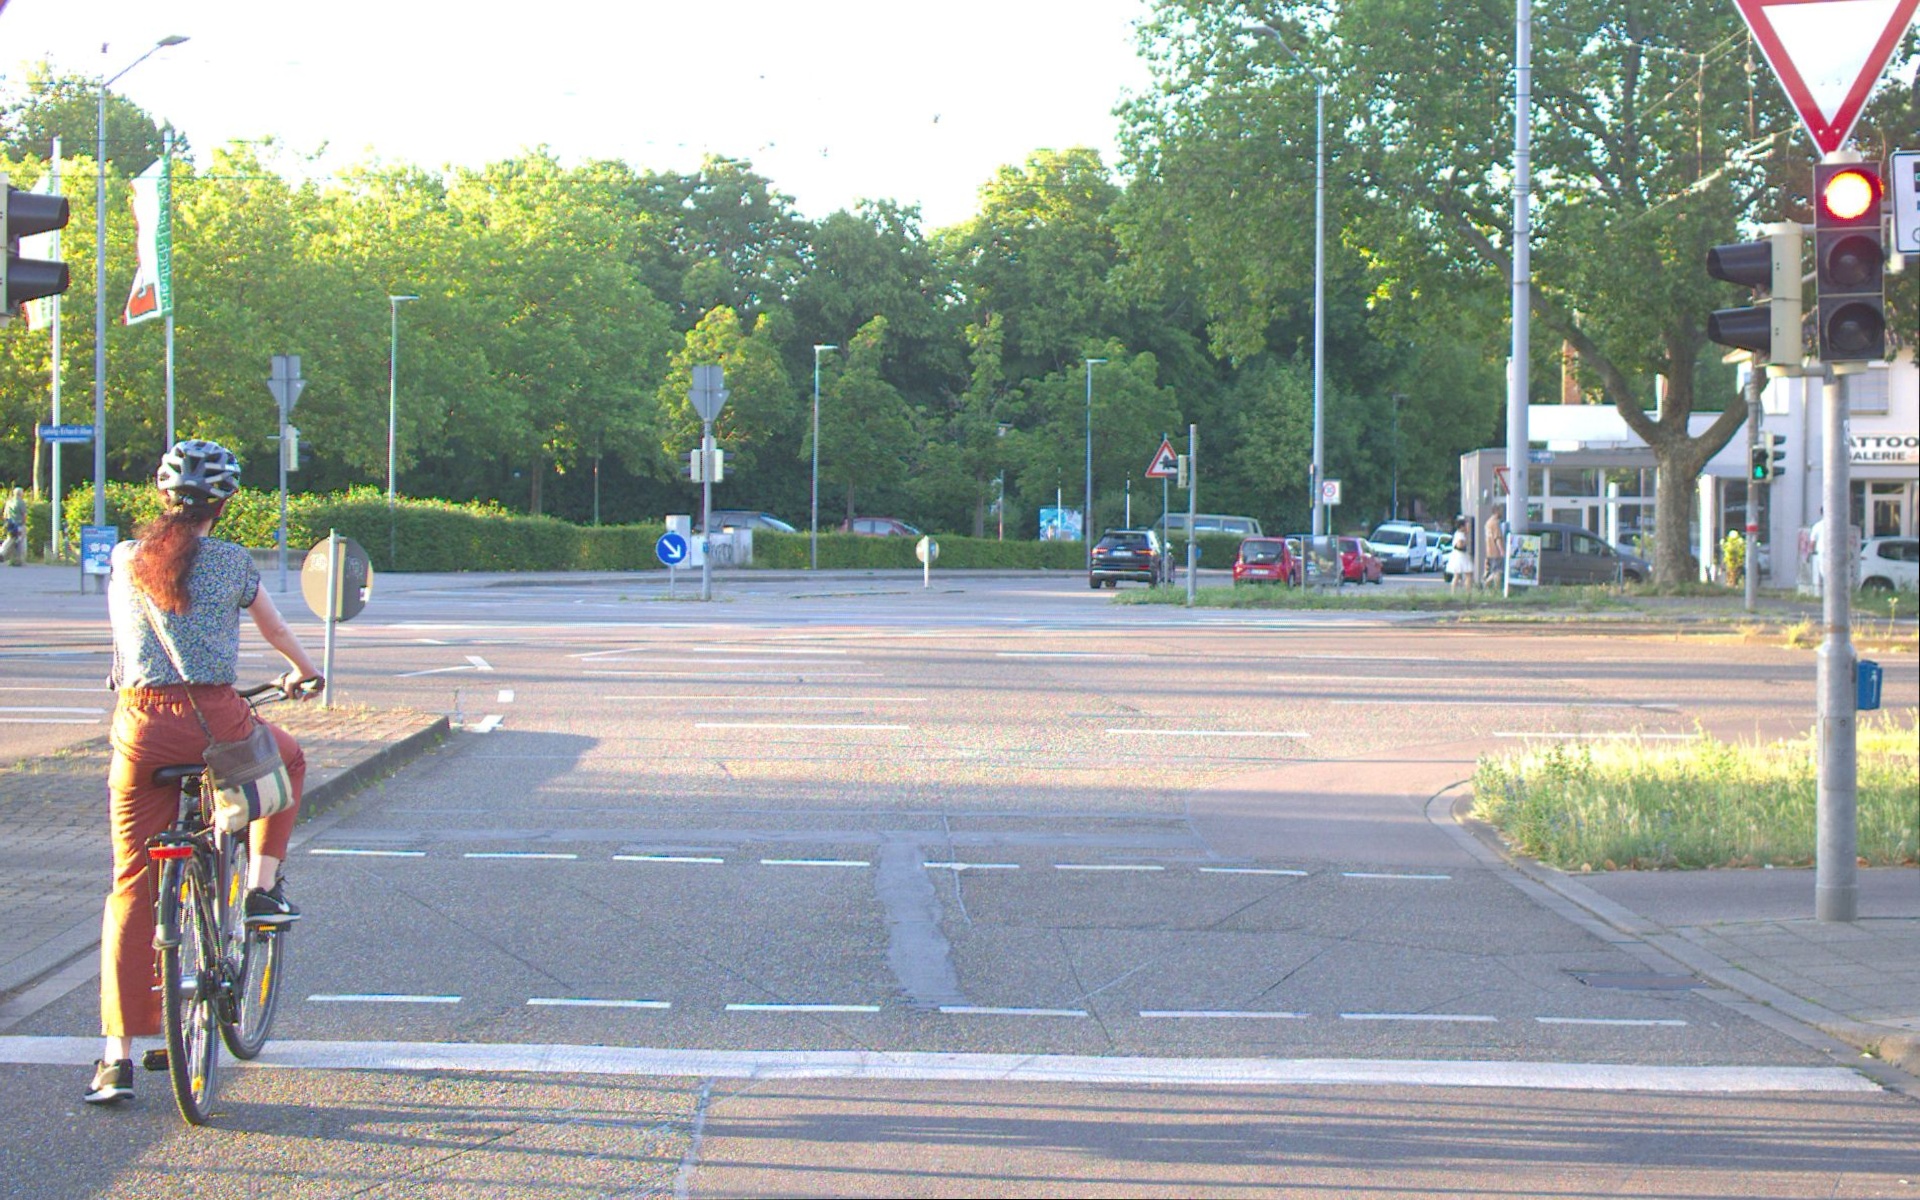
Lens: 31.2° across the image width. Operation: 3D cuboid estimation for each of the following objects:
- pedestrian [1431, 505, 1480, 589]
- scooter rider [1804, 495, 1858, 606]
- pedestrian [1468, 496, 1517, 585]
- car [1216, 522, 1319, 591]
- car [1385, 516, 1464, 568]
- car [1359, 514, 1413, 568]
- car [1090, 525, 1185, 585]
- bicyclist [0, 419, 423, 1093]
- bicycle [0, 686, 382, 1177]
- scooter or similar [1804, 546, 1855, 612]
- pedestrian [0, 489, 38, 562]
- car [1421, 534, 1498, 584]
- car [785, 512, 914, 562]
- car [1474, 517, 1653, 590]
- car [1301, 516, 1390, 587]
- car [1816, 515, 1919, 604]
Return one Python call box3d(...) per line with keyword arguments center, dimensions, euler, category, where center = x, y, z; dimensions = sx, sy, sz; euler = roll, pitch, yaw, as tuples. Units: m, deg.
box3d(center=(9.852, -1.057, 68.319), dimensions=(0.719, 1.633, 0.896), euler=(1, 1, 24), category="pedestrian")
box3d(center=(14.699, -0.836, 58.046), dimensions=(0.702, 1.848, 0.669), euler=(1, 0, -1), category="scooter rider")
box3d(center=(10.524, -1.183, 67.956), dimensions=(0.719, 1.748, 0.896), euler=(1, 1, 24), category="pedestrian")
box3d(center=(8.590, -1.228, 95.700), dimensions=(1.870, 1.868, 3.870), euler=(1, 2, 21), category="car")
box3d(center=(18.337, -2.302, 135.709), dimensions=(1.996, 2.007, 3.995), euler=(1, 2, 24), category="car")
box3d(center=(16.230, -2.285, 131.172), dimensions=(1.994, 2.007, 3.999), euler=(1, 1, 7), category="car")
box3d(center=(4.745, -1.181, 91.309), dimensions=(1.756, 1.535, 4.398), euler=(1, 0, 13), category="car")
box3d(center=(-2.043, 0.387, 9.265), dimensions=(1.031, 1.712, 0.996), euler=(1, 1, -1), category="bicyclist")
box3d(center=(-2.044, 0.818, 9.259), dimensions=(0.634, 1.064, 2.122), euler=(1, 1, -1), category="bicycle")
box3d(center=(14.690, -0.353, 58.101), dimensions=(0.510, 1.086, 1.243), euler=(1, 1, -1), category="scooter or similar")
box3d(center=(-22.745, -1.802, 82.854), dimensions=(0.894, 1.748, 0.721), euler=(0, 1, -26), category="pedestrian")
box3d(center=(16.795, -1.388, 115.496), dimensions=(1.916, 1.597, 3.997), euler=(1, 2, 17), category="car")
box3d(center=(-3.493, -2.009, 109.514), dimensions=(3.987, 1.555, 2.000), euler=(1, 1, 1), category="car")
box3d(center=(15.580, -1.214, 88.963), dimensions=(4.378, 1.828, 1.949), euler=(1, 1, 5), category="car")
box3d(center=(11.603, -1.474, 103.313), dimensions=(1.916, 2.040, 3.997), euler=(1, 2, 17), category="car")
box3d(center=(20.396, -0.855, 72.475), dimensions=(4.230, 1.840, 2.000), euler=(1, 1, 2), category="car")
